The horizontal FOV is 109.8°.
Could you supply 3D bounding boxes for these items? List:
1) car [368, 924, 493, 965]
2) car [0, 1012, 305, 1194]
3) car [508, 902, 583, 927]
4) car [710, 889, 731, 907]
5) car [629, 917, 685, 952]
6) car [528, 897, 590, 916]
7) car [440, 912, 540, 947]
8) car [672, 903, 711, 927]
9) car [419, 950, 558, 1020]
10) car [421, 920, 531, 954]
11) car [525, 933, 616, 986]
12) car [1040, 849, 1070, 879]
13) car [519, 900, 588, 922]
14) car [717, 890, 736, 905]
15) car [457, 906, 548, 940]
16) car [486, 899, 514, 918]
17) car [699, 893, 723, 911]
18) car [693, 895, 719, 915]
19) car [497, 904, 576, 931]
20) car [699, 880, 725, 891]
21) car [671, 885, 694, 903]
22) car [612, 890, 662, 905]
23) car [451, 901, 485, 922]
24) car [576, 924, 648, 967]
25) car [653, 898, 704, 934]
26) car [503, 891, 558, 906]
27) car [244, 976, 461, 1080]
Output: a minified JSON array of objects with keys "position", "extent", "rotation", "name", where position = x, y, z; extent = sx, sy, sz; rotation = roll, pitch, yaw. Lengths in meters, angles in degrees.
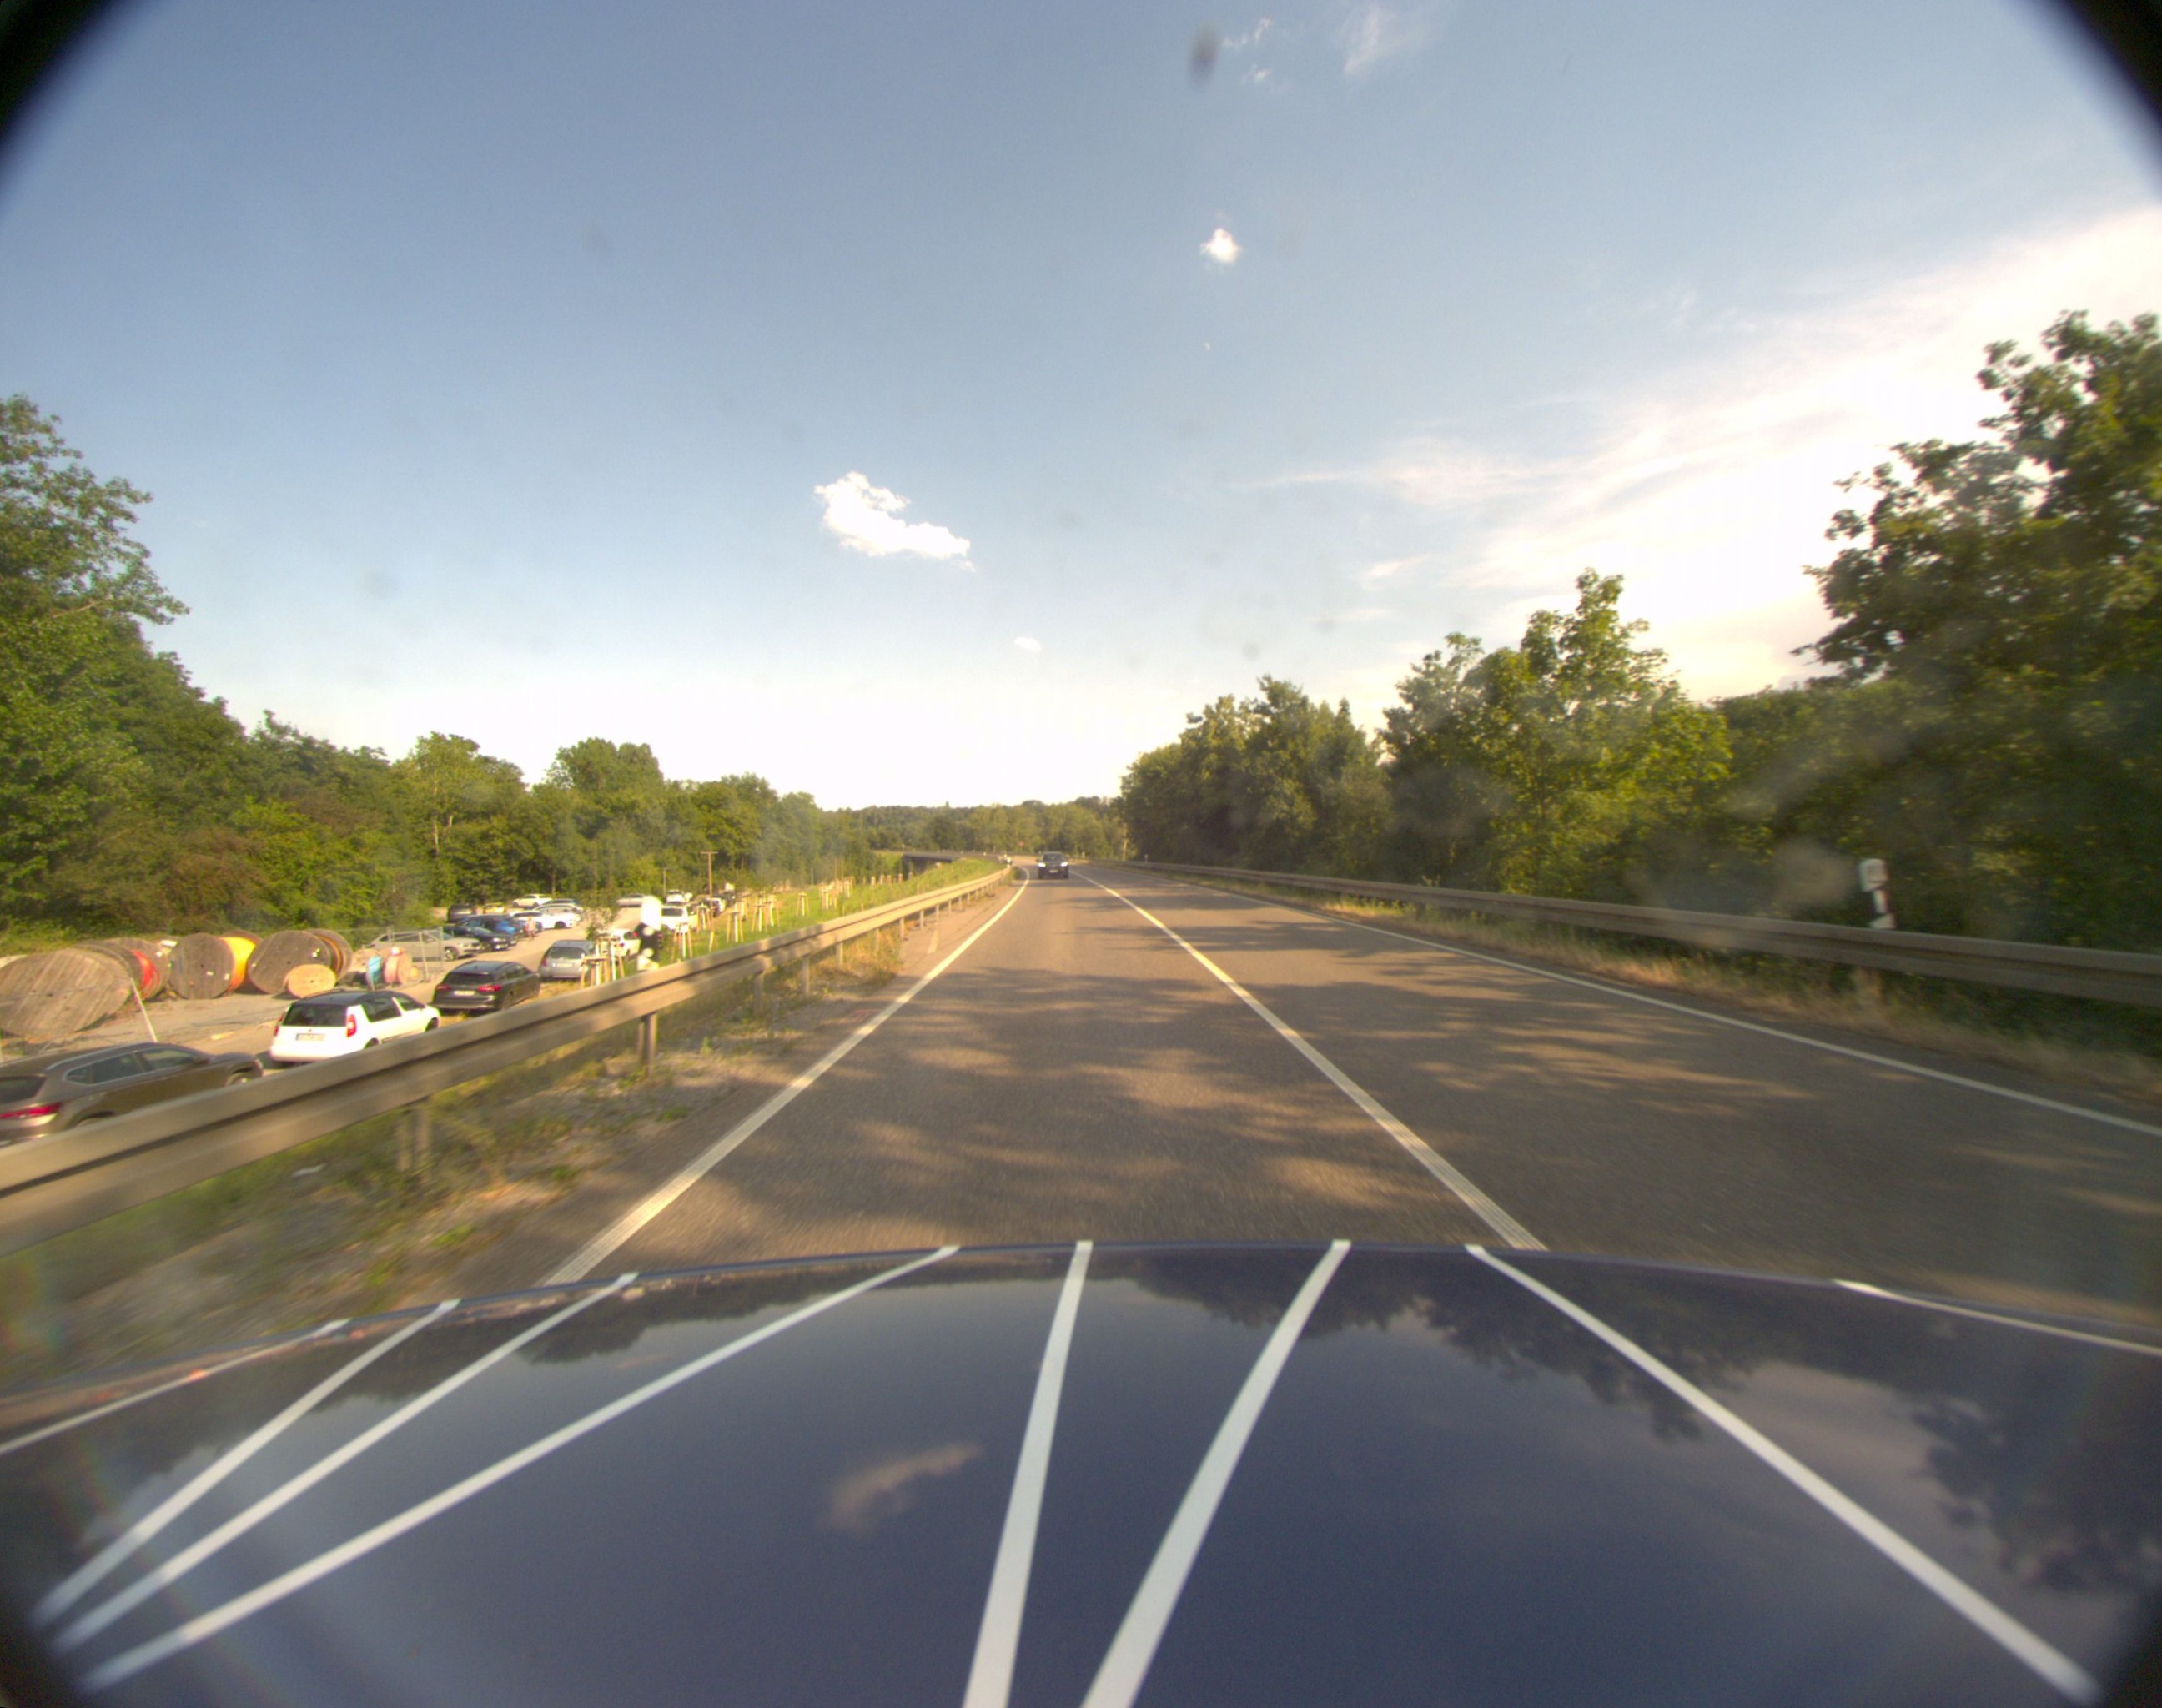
[{"position":[-31.929,4.427,37.466],"extent":[4.250,1.481,1.830],"rotation":[-2,1,-20],"name":"car"},{"position":[-16.318,4.039,12.956],"extent":[1.898,1.550,4.777],"rotation":[-2,1,-12],"name":"car"},{"position":[-39.619,4.466,56.348],"extent":[4.252,1.447,1.614],"rotation":[-2,1,-26],"name":"car"},{"position":[-36.597,4.479,77.130],"extent":[1.826,1.649,4.248],"rotation":[1,-1,-24],"name":"car"},{"position":[-23.207,4.391,41.776],"extent":[1.900,1.473,4.774],"rotation":[2,-1,-20],"name":"car"},{"position":[-45.437,4.530,66.292],"extent":[4.253,1.447,1.614],"rotation":[0,0,-26],"name":"car"},{"position":[-34.947,4.432,45.028],"extent":[4.250,1.595,1.830],"rotation":[-2,1,-20],"name":"car"},{"position":[-28.231,4.400,55.238],"extent":[1.900,1.473,4.774],"rotation":[2,-1,-20],"name":"car"},{"position":[-19.112,4.152,24.802],"extent":[1.900,1.550,4.776],"rotation":[2,-1,-17],"name":"car"},{"position":[-32.048,4.389,40.351],"extent":[4.245,1.480,1.833],"rotation":[-2,-1,-5],"name":"car"},{"position":[-20.478,4.188,30.700],"extent":[1.900,1.550,4.774],"rotation":[2,-1,-20],"name":"car"},{"position":[-1.577,0.579,47.253],"extent":[1.751,1.645,4.304],"rotation":[-1,2,-1],"name":"car"},{"position":[-42.522,4.546,61.343],"extent":[4.422,1.447,1.731],"rotation":[-1,0,-30],"name":"car"},{"position":[-38.272,4.655,82.109],"extent":[1.826,1.393,4.248],"rotation":[1,-1,-24],"name":"car"},{"position":[-36.779,4.359,48.431],"extent":[4.252,1.732,1.830],"rotation":[-2,0,-25],"name":"car"},{"position":[-49.687,4.622,64.976],"extent":[1.502,1.447,3.667],"rotation":[0,-1,-31],"name":"car"},{"position":[-34.499,4.438,70.929],"extent":[1.826,1.473,4.248],"rotation":[1,-1,-24],"name":"car"},{"position":[-32.599,4.419,66.141],"extent":[1.826,1.473,4.387],"rotation":[1,-1,-24],"name":"car"},{"position":[-38.524,4.481,53.909],"extent":[4.252,1.489,1.768],"rotation":[-2,0,-25],"name":"car"},{"position":[-55.213,4.694,113.574],"extent":[3.674,1.488,1.663],"rotation":[0,2,28],"name":"car"},{"position":[-45.010,4.455,85.893],"extent":[1.661,1.657,4.699],"rotation":[-1,1,-19],"name":"car"},{"position":[-46.253,4.511,79.261],"extent":[4.251,1.447,1.615],"rotation":[0,-1,-20],"name":"car"},{"position":[-49.901,4.628,61.901],"extent":[1.620,1.447,4.237],"rotation":[0,-1,-31],"name":"car"},{"position":[-22.026,4.256,35.911],"extent":[1.900,1.550,4.774],"rotation":[2,-1,-20],"name":"car"},{"position":[-26.316,4.037,49.875],"extent":[2.128,2.006,5.370],"rotation":[2,-1,-20],"name":"car"},{"position":[-57.112,4.606,78.870],"extent":[4.249,1.447,1.711],"rotation":[-1,0,-14],"name":"car"},{"position":[-17.863,4.181,19.012],"extent":[1.900,1.550,4.776],"rotation":[2,-1,-17],"name":"car"}]
